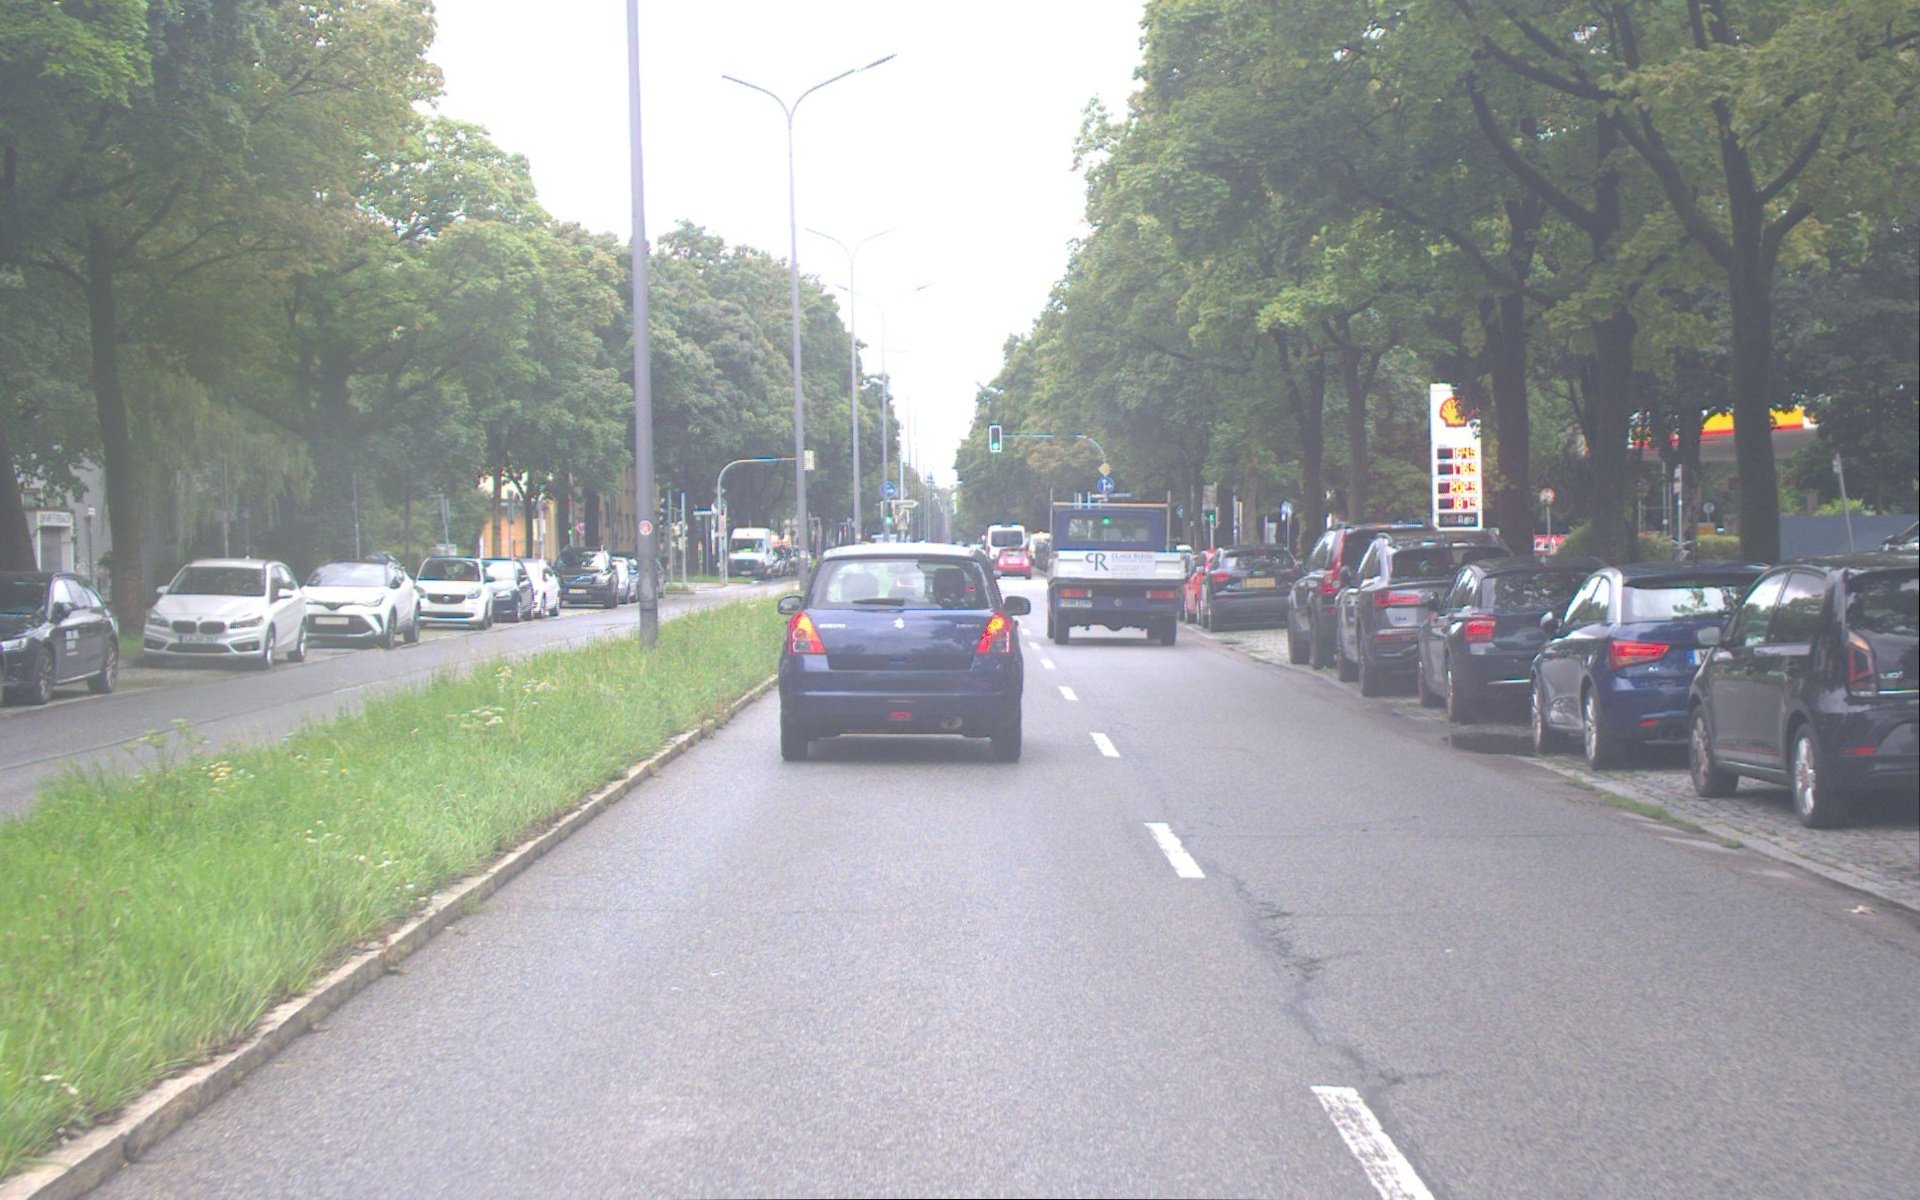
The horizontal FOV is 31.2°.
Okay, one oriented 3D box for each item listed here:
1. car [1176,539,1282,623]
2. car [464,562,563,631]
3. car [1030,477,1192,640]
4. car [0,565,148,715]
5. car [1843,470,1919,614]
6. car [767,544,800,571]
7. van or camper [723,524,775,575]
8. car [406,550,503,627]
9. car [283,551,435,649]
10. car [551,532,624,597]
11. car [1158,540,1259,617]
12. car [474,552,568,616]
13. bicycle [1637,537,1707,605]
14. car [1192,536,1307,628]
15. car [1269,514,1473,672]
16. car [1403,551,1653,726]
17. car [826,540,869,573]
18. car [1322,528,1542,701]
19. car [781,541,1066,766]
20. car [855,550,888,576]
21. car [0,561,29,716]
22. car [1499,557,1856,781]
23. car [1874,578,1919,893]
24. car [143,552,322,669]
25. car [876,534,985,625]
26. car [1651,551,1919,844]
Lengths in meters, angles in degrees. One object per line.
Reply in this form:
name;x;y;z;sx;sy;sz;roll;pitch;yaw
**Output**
car;5.172;-0.389;66.469;1.675;1.496;4.021;-3;1;0
car;-10.280;-0.102;79.383;1.674;1.470;4.215;2;1;0
car;2.344;-0.665;54.253;2.419;2.436;5.086;0;1;2
car;-10.747;0.397;39.147;1.760;1.508;4.948;1;1;1
car;16.111;-0.908;50.926;5.469;2.076;2.147;-1;1;0
car;-9.919;-2.394;193.415;1.636;1.437;3.735;-2;1;0
van or camper;-10.588;-2.557;172.927;2.140;2.467;6.259;-2;1;0
car;-10.859;-0.273;74.063;1.690;1.560;3.080;2;1;-2
car;-10.649;-0.034;61.190;1.832;1.604;4.491;1;1;1
car;-10.608;-1.036;98.123;1.796;1.757;5.059;2;1;-4
car;5.097;-0.463;70.894;1.675;1.449;4.582;-3;1;0
car;-10.767;-0.416;84.585;1.674;1.438;4.320;2;1;1
bicycle;12.600;-0.523;60.919;0.748;1.179;2.247;-1;1;0
car;5.177;-0.358;61.960;1.779;1.506;4.285;-3;1;2
car;5.040;-0.129;42.765;1.892;1.794;4.861;-2;1;0
car;5.095;0.294;31.334;1.702;1.403;4.512;-2;1;3
car;-5.101;-1.991;156.031;1.739;1.435;4.215;-1;1;0
car;4.946;0.100;36.587;1.813;1.670;4.799;-2;1;2
car;-0.336;0.329;24.851;1.896;1.494;3.660;0;1;-3
car;-5.207;-2.191;202.257;1.737;1.437;4.103;-2;1;0
car;-10.760;0.407;34.393;1.685;1.591;4.210;1;1;1
car;5.077;0.432;24.842;1.702;1.416;4.121;-2;1;0
car;5.109;0.615;13.881;1.702;1.392;4.233;-2;1;0
car;-10.748;0.121;51.056;1.757;1.589;4.490;1;1;-1
car;-0.506;-0.378;59.342;1.799;1.494;3.660;-1;1;0
car;5.204;0.472;19.644;1.702;1.441;3.978;-2;1;0
